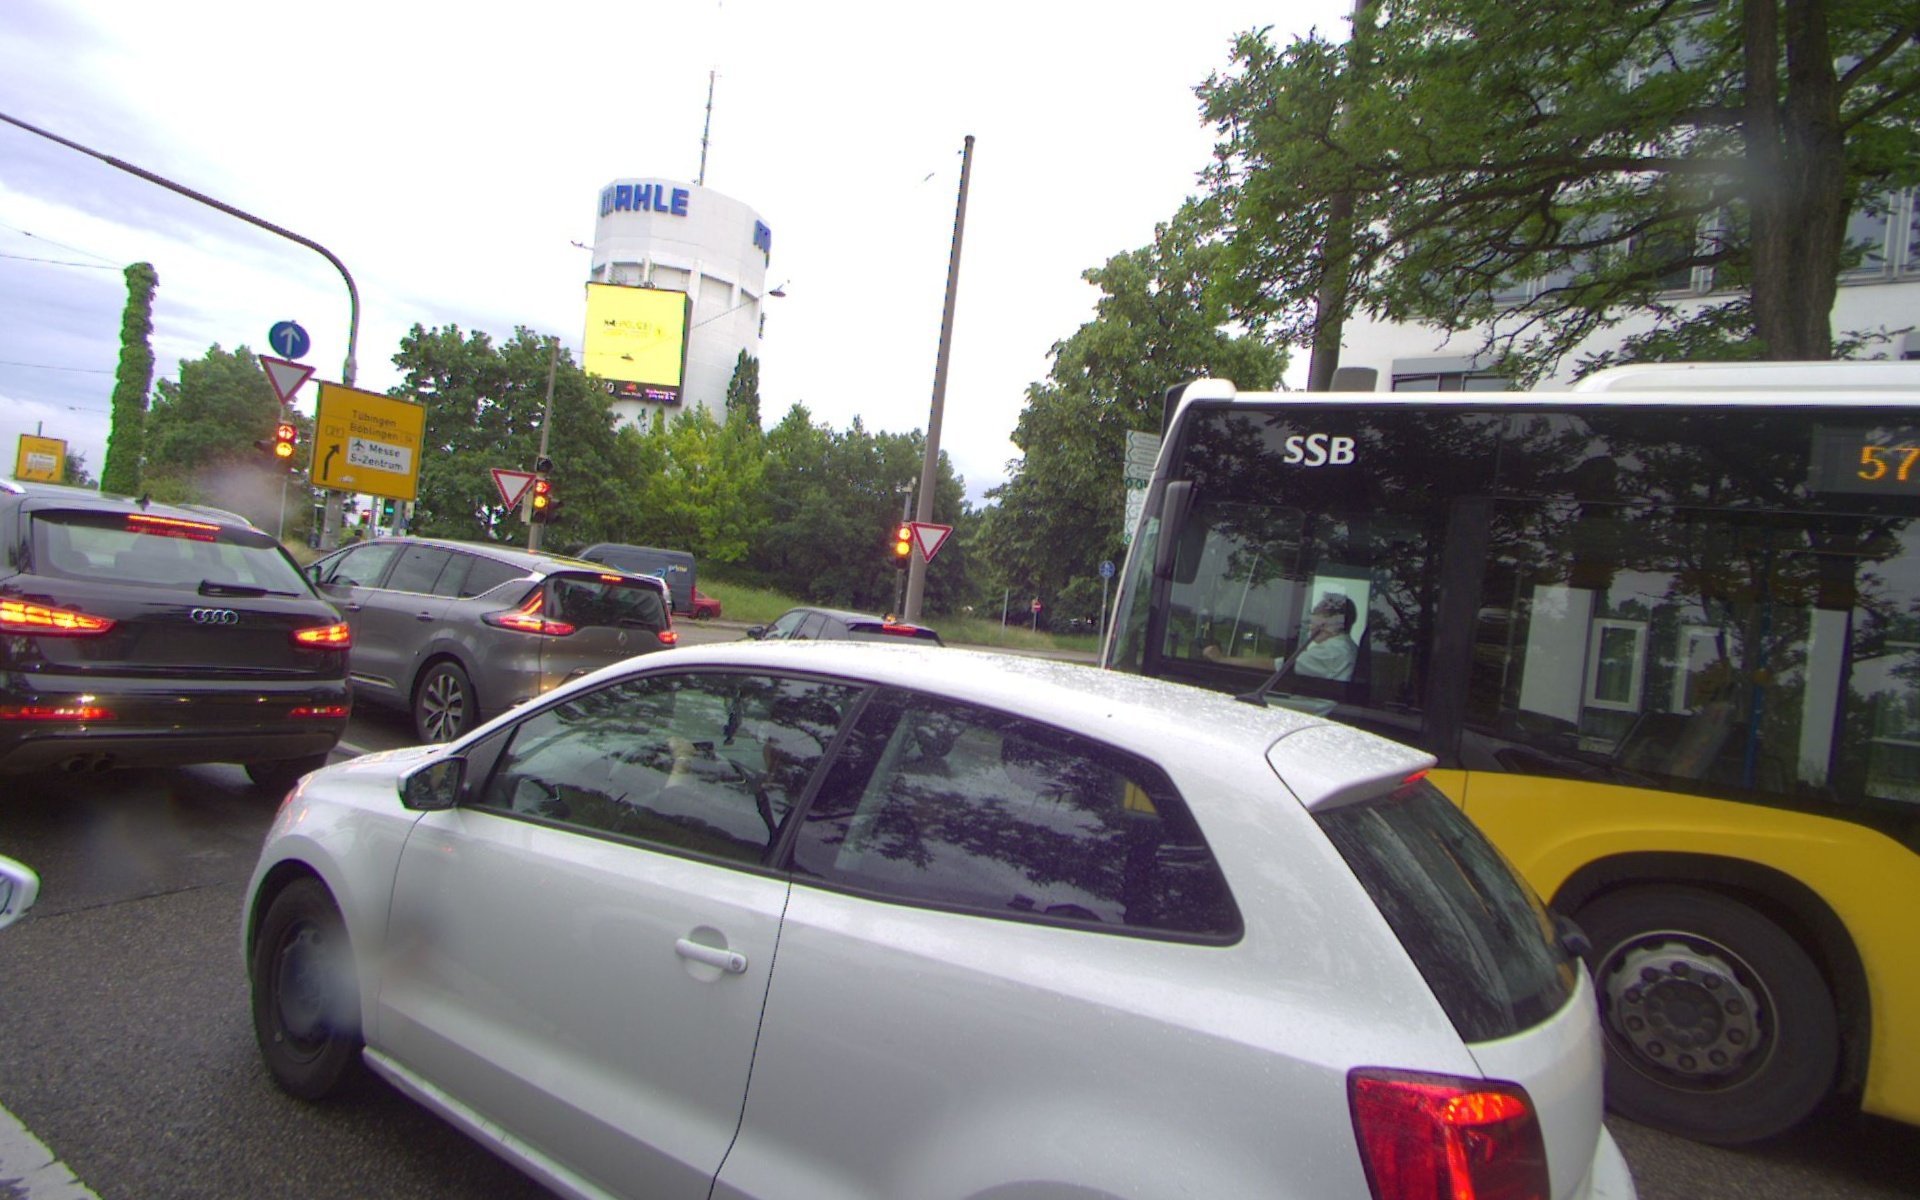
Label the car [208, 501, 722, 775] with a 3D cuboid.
[{"bbox_3d":[-4.568,0.251,9.118,4.488,1.694,1.869,7,-1,30],"label":"car"}]

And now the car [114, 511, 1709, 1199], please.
[{"bbox_3d":[-0.421,0.715,2.818,3.748,1.447,1.745,6,-3,31],"label":"car"}]

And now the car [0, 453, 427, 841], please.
[{"bbox_3d":[-5.315,0.122,5.919,4.045,1.613,1.889,6,-3,31],"label":"car"}]

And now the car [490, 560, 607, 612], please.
[{"bbox_3d":[-17.287,-0.582,42.356,4.112,1.582,1.852,9,-2,-38],"label":"car"}]

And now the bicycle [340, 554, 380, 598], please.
[{"bbox_3d":[-16.070,-0.655,26.973,0.802,1.035,2.310,6,-1,-31],"label":"bicycle"}]

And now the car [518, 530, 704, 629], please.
[{"bbox_3d":[-12.856,-0.683,37.289,5.972,2.772,2.065,9,-3,-33],"label":"car"}]

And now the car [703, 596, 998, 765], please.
[{"bbox_3d":[-1.502,0.863,12.089,1.851,1.515,4.119,7,-2,-31],"label":"car"}]

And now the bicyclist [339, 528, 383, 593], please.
[{"bbox_3d":[-16.121,-1.046,27.085,0.803,1.601,1.015,9,-2,-32],"label":"bicyclist"}]

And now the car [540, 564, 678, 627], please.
[{"bbox_3d":[-12.009,-0.136,34.497,4.027,1.586,1.855,9,-4,-36],"label":"car"}]

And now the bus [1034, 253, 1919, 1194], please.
[{"bbox_3d":[6.327,0.829,3.138,11.943,3.187,2.733,7,-2,32],"label":"bus"}]
